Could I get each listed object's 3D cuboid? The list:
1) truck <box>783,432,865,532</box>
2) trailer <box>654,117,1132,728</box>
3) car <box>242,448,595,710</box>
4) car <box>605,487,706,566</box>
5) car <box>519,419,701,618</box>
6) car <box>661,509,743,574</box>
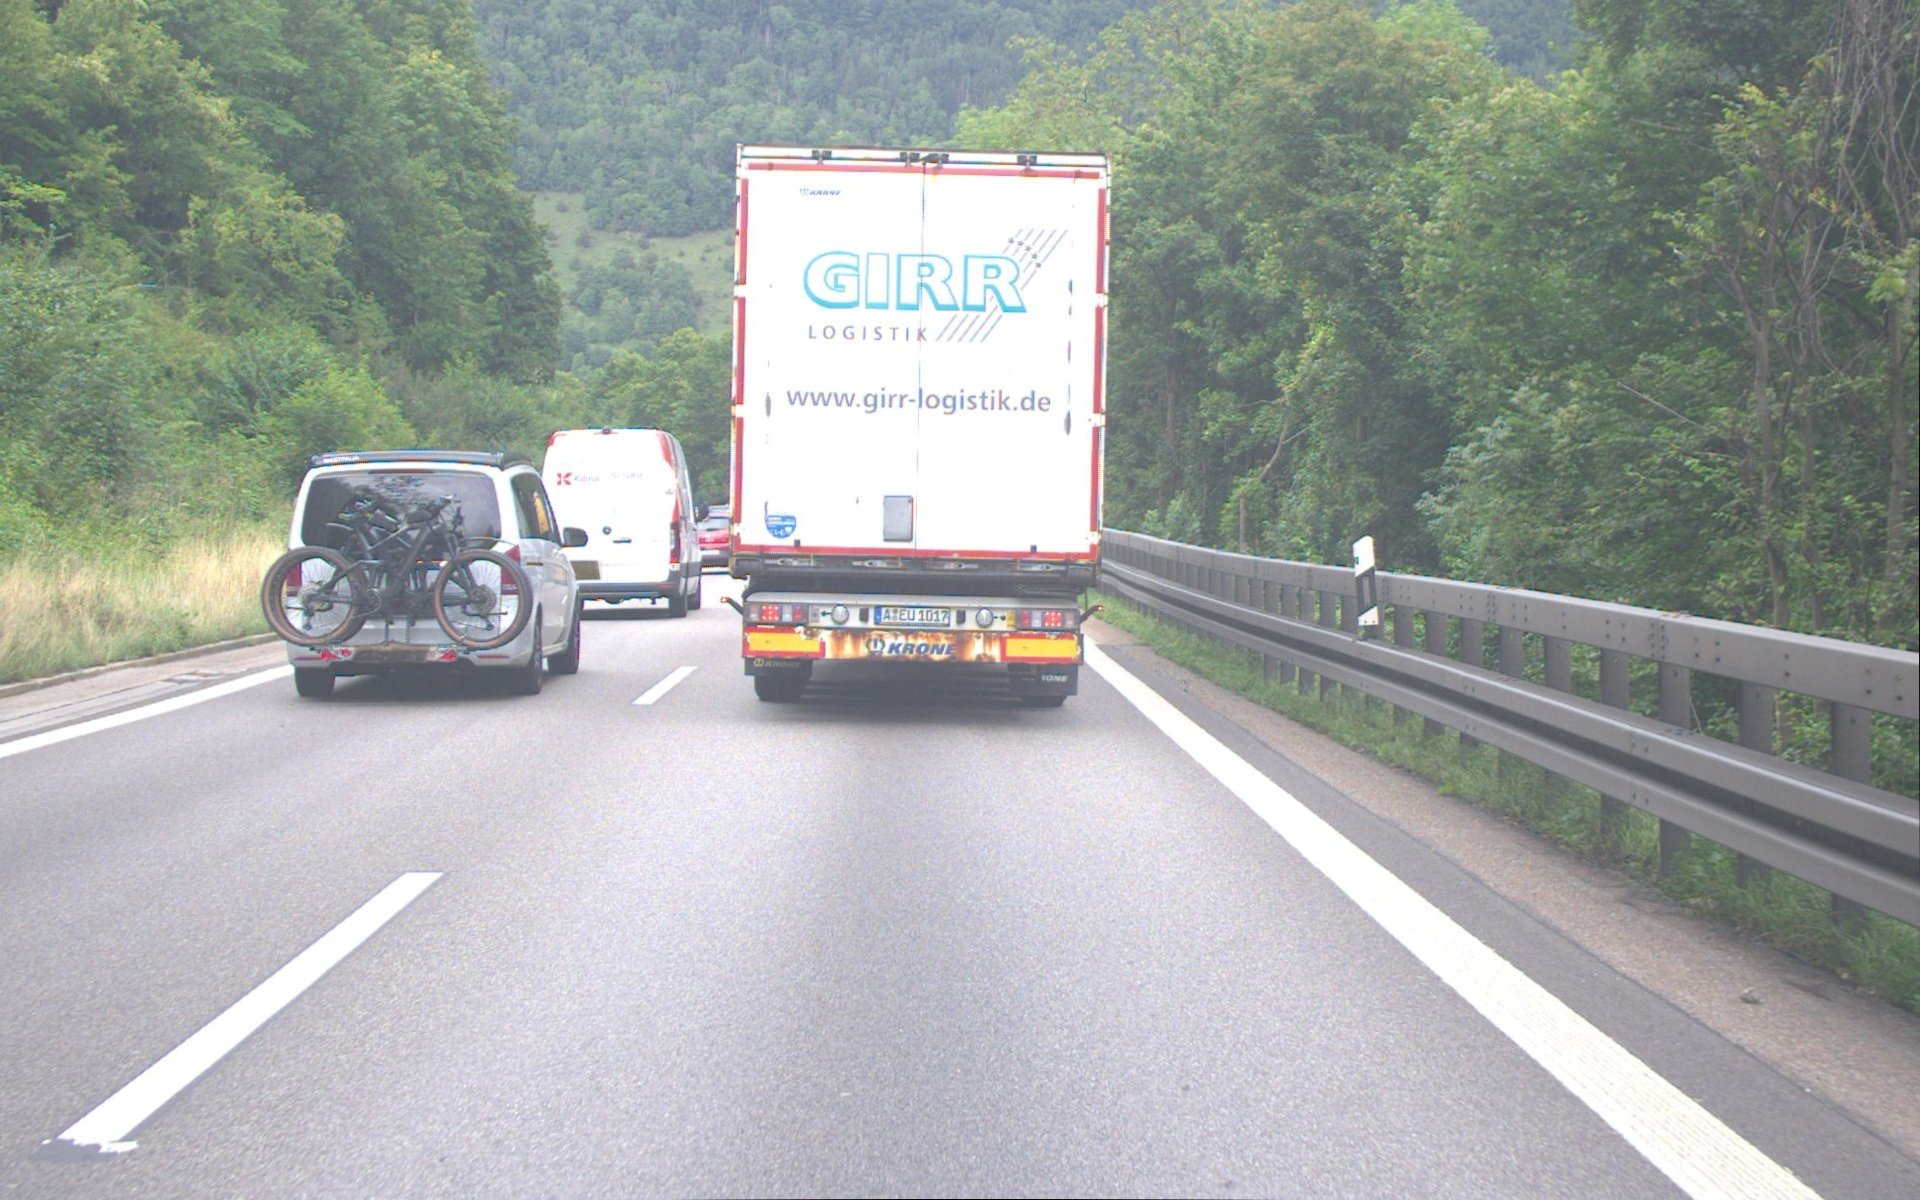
[{"bbox_3d":[-5.518,-4.699,138.476,3.068,3.864,8.460,0,1,-4],"label":"truck"},{"bbox_3d":[-0.487,-1.322,27.722,3.133,4.029,9.440,1,2,0],"label":"trailer"},{"bbox_3d":[-4.263,-0.239,27.972,2.018,1.907,5.564,0,2,0],"label":"car"},{"bbox_3d":[-5.965,-1.448,67.712,1.683,1.509,3.765,0,1,0],"label":"car"},{"bbox_3d":[-4.854,-1.167,48.448,2.123,2.589,5.564,-1,2,-2],"label":"car"},{"bbox_3d":[-6.034,-1.390,80.805,1.683,1.447,3.765,-1,2,-1],"label":"car"}]
